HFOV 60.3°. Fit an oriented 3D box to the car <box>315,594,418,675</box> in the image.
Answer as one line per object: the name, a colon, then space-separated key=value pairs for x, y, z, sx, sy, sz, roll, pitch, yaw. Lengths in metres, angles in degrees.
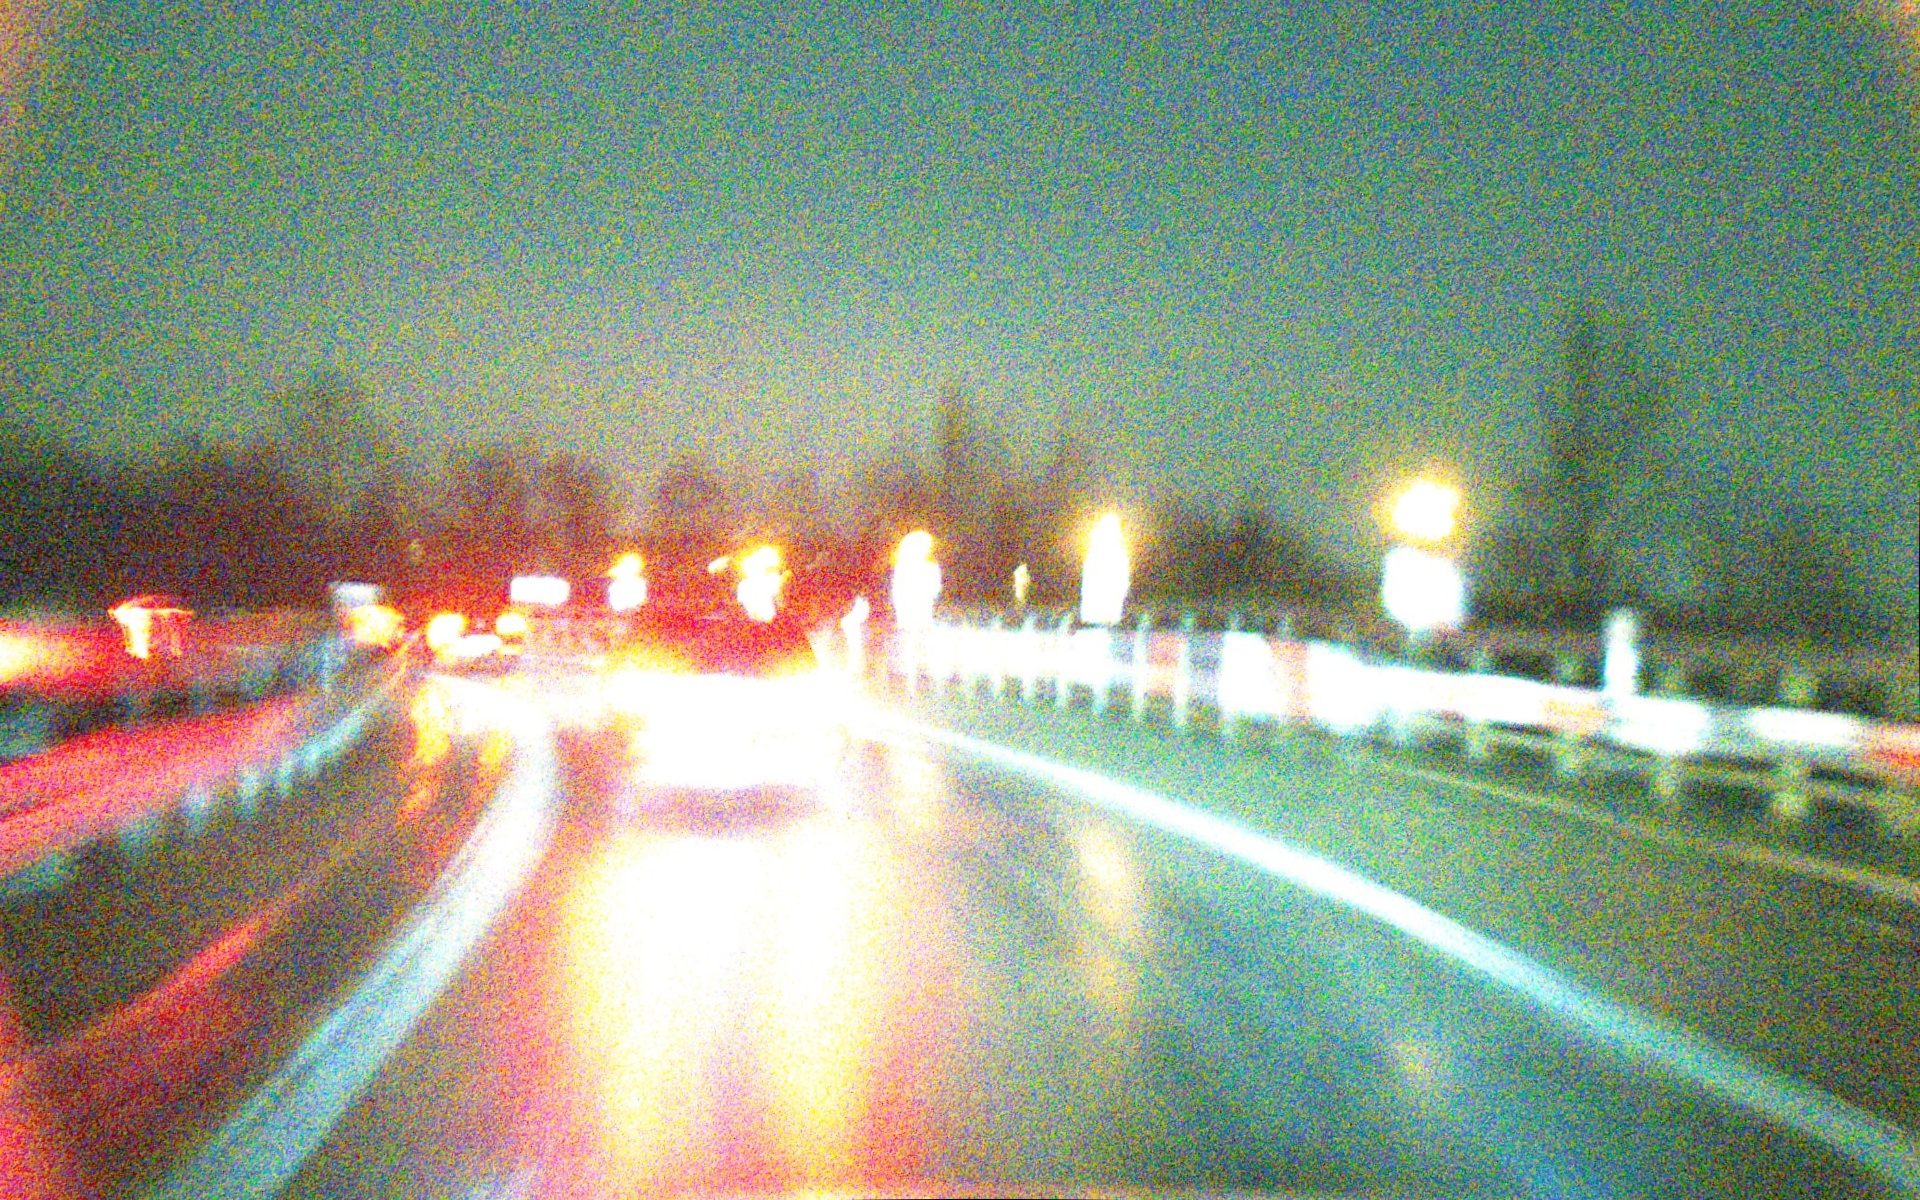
car: x=-16.228 y=0.908 z=45.107 sx=1.876 sy=2.076 sz=4.003 roll=1 pitch=0 yaw=-31

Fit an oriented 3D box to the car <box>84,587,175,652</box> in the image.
car: x=-27.775 y=0.637 z=55.241 sx=1.883 sy=2.033 sz=3.989 roll=1 pitch=0 yaw=-39

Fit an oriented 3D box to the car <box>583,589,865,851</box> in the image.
car: x=-1.933 y=0.777 z=12.881 sx=1.827 sy=1.676 sz=4.057 roll=-1 pitch=0 yaw=-11

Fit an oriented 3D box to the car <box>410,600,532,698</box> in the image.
car: x=-9.667 y=0.917 z=32.504 sx=1.869 sy=1.750 sz=4.017 roll=1 pitch=0 yaw=-23
